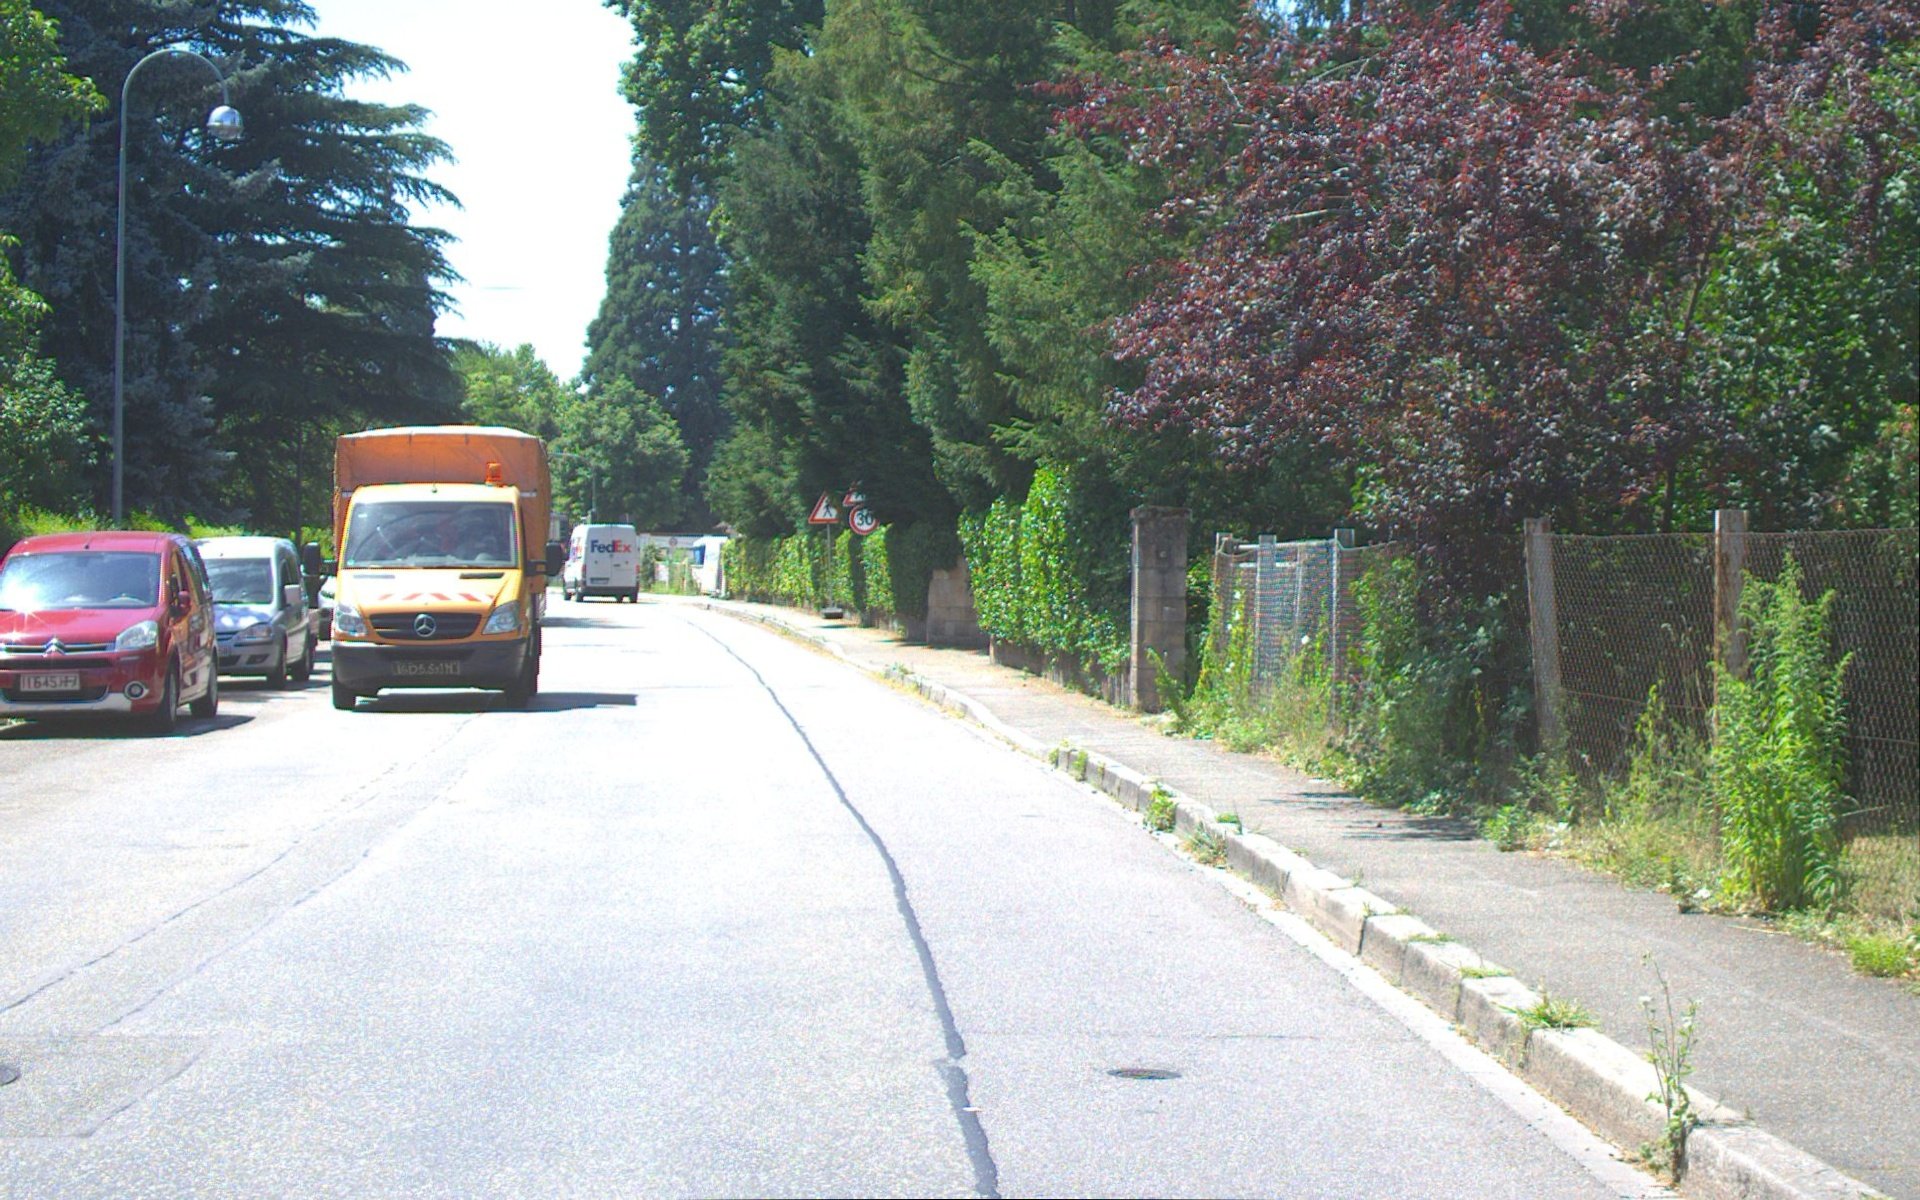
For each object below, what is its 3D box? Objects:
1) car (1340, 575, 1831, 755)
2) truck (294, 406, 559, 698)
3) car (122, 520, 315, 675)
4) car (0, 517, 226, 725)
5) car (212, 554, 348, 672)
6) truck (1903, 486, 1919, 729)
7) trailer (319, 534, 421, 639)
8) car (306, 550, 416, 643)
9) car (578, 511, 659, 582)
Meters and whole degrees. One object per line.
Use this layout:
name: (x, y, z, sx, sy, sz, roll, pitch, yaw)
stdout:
car: (5.375, 0.543, 29.877, 3.861, 1.376, 1.766, 2, 0, -2)
truck: (-5.543, -0.493, 36.444, 2.373, 2.820, 5.659, 1, 1, -5)
car: (-8.759, -0.050, 40.907, 1.647, 1.746, 4.355, 0, 1, -4)
car: (-7.731, 0.144, 30.742, 1.757, 1.721, 4.459, 0, 1, -5)
car: (-9.012, 0.148, 45.715, 1.411, 1.498, 2.841, -1, 1, -4)
truck: (11.941, 0.287, 30.311, 6.608, 2.160, 1.980, 3, 1, -7)
trailer: (-11.851, -0.292, 69.241, 1.847, 2.033, 4.164, 0, 1, -8)
car: (-11.255, -0.083, 64.833, 1.850, 1.665, 4.713, 0, 1, -8)
car: (-11.413, -1.770, 114.665, 2.143, 2.307, 4.854, 0, 1, -12)
